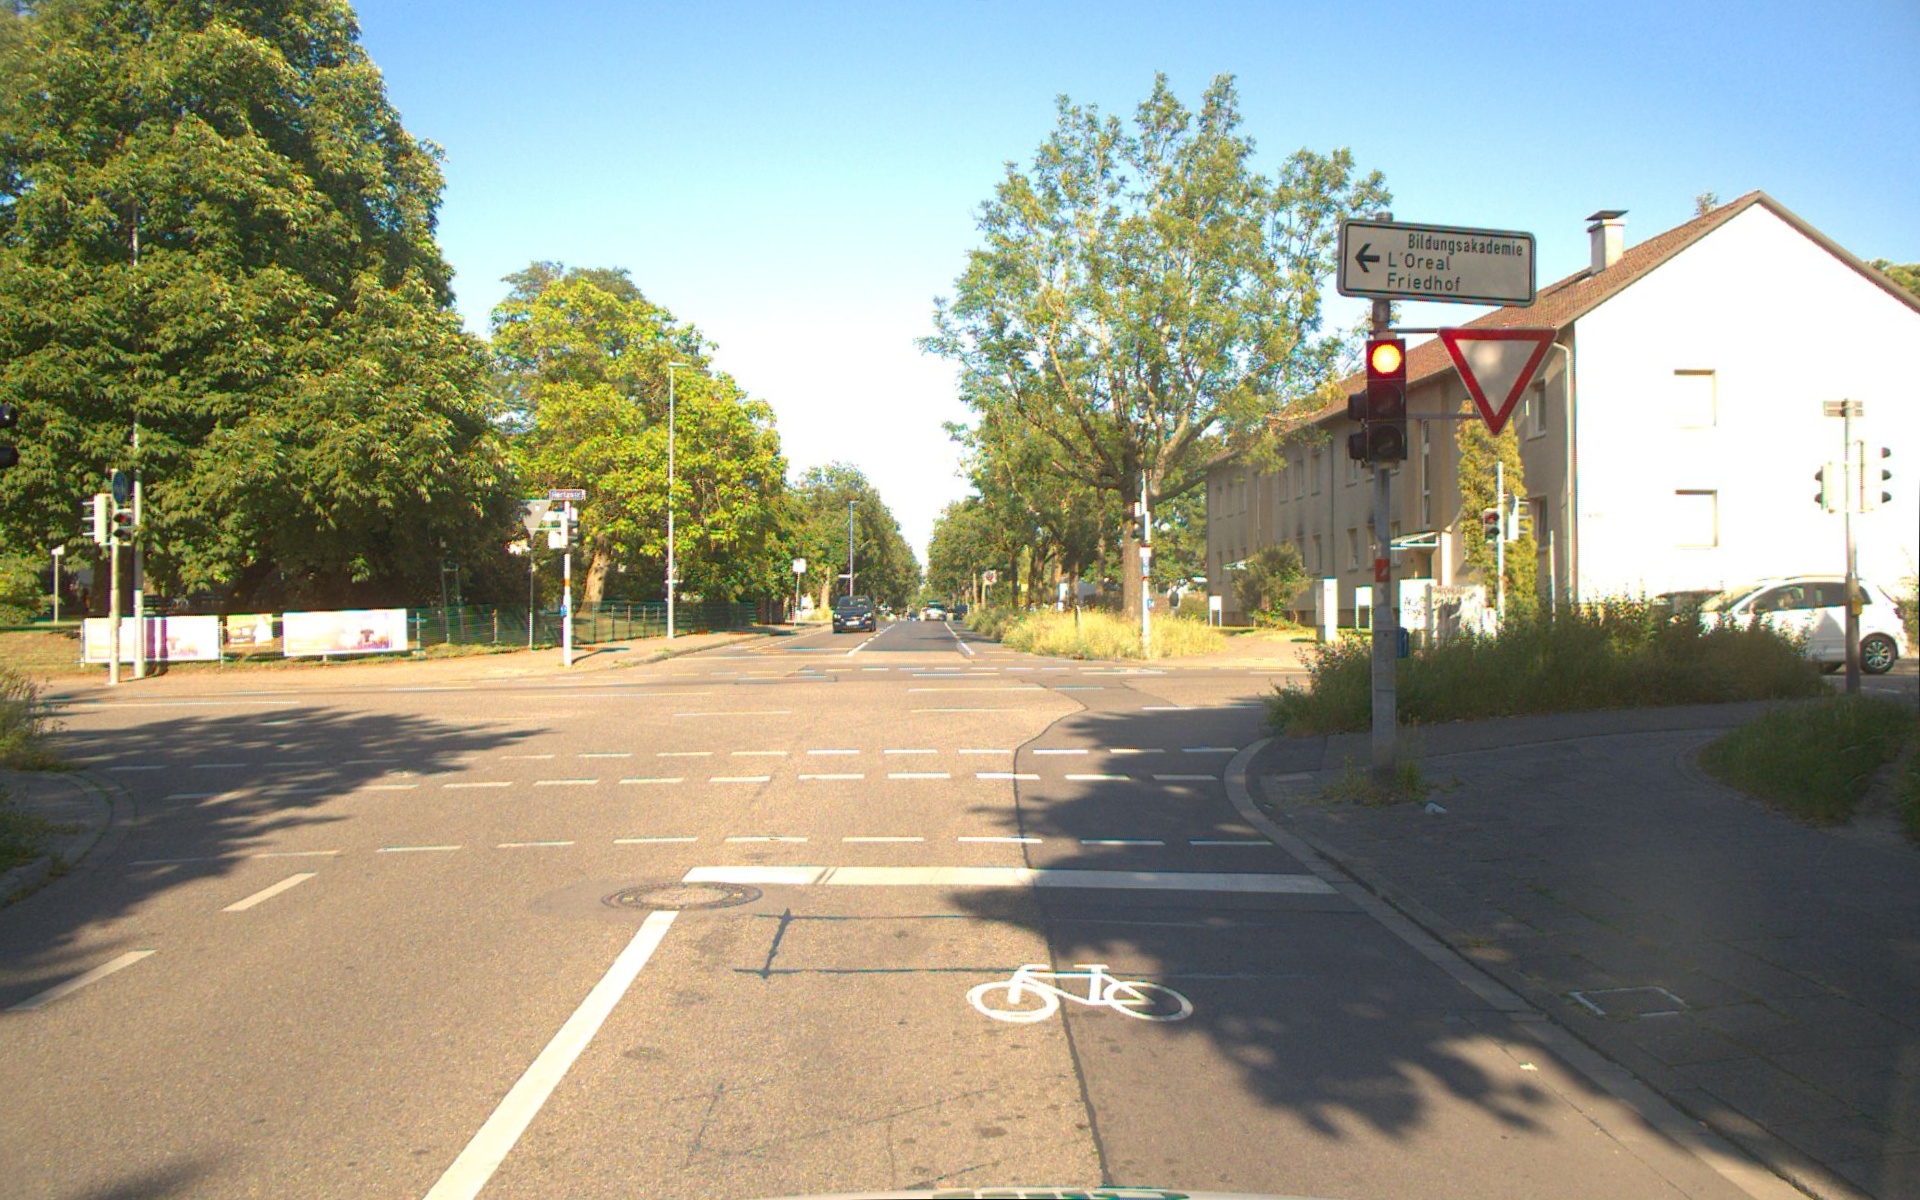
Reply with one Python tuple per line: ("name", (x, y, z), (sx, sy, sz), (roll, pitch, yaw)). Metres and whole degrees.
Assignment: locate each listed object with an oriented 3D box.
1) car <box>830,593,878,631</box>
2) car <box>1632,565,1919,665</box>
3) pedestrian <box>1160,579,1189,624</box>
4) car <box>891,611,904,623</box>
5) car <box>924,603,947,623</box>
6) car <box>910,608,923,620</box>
("car", (-4.252, 0.462, 66.489), (1.676, 1.410, 3.471), (0, 1, 0))
("car", (13.607, 0.248, 27.684), (4.025, 1.590, 1.756), (1, 0, -4))
("pedestrian", (7.476, 0.056, 57.709), (0.825, 1.519, 0.924), (2, 0, -1))
("car", (-8.538, 2.330, 226.120), (1.722, 1.652, 3.269), (0, 1, 0))
("car", (-1.916, 1.005, 129.536), (1.807, 1.487, 3.529), (-1, 1, -1))
("car", (-6.269, 2.067, 239.601), (1.722, 1.652, 3.269), (0, 1, 0))
